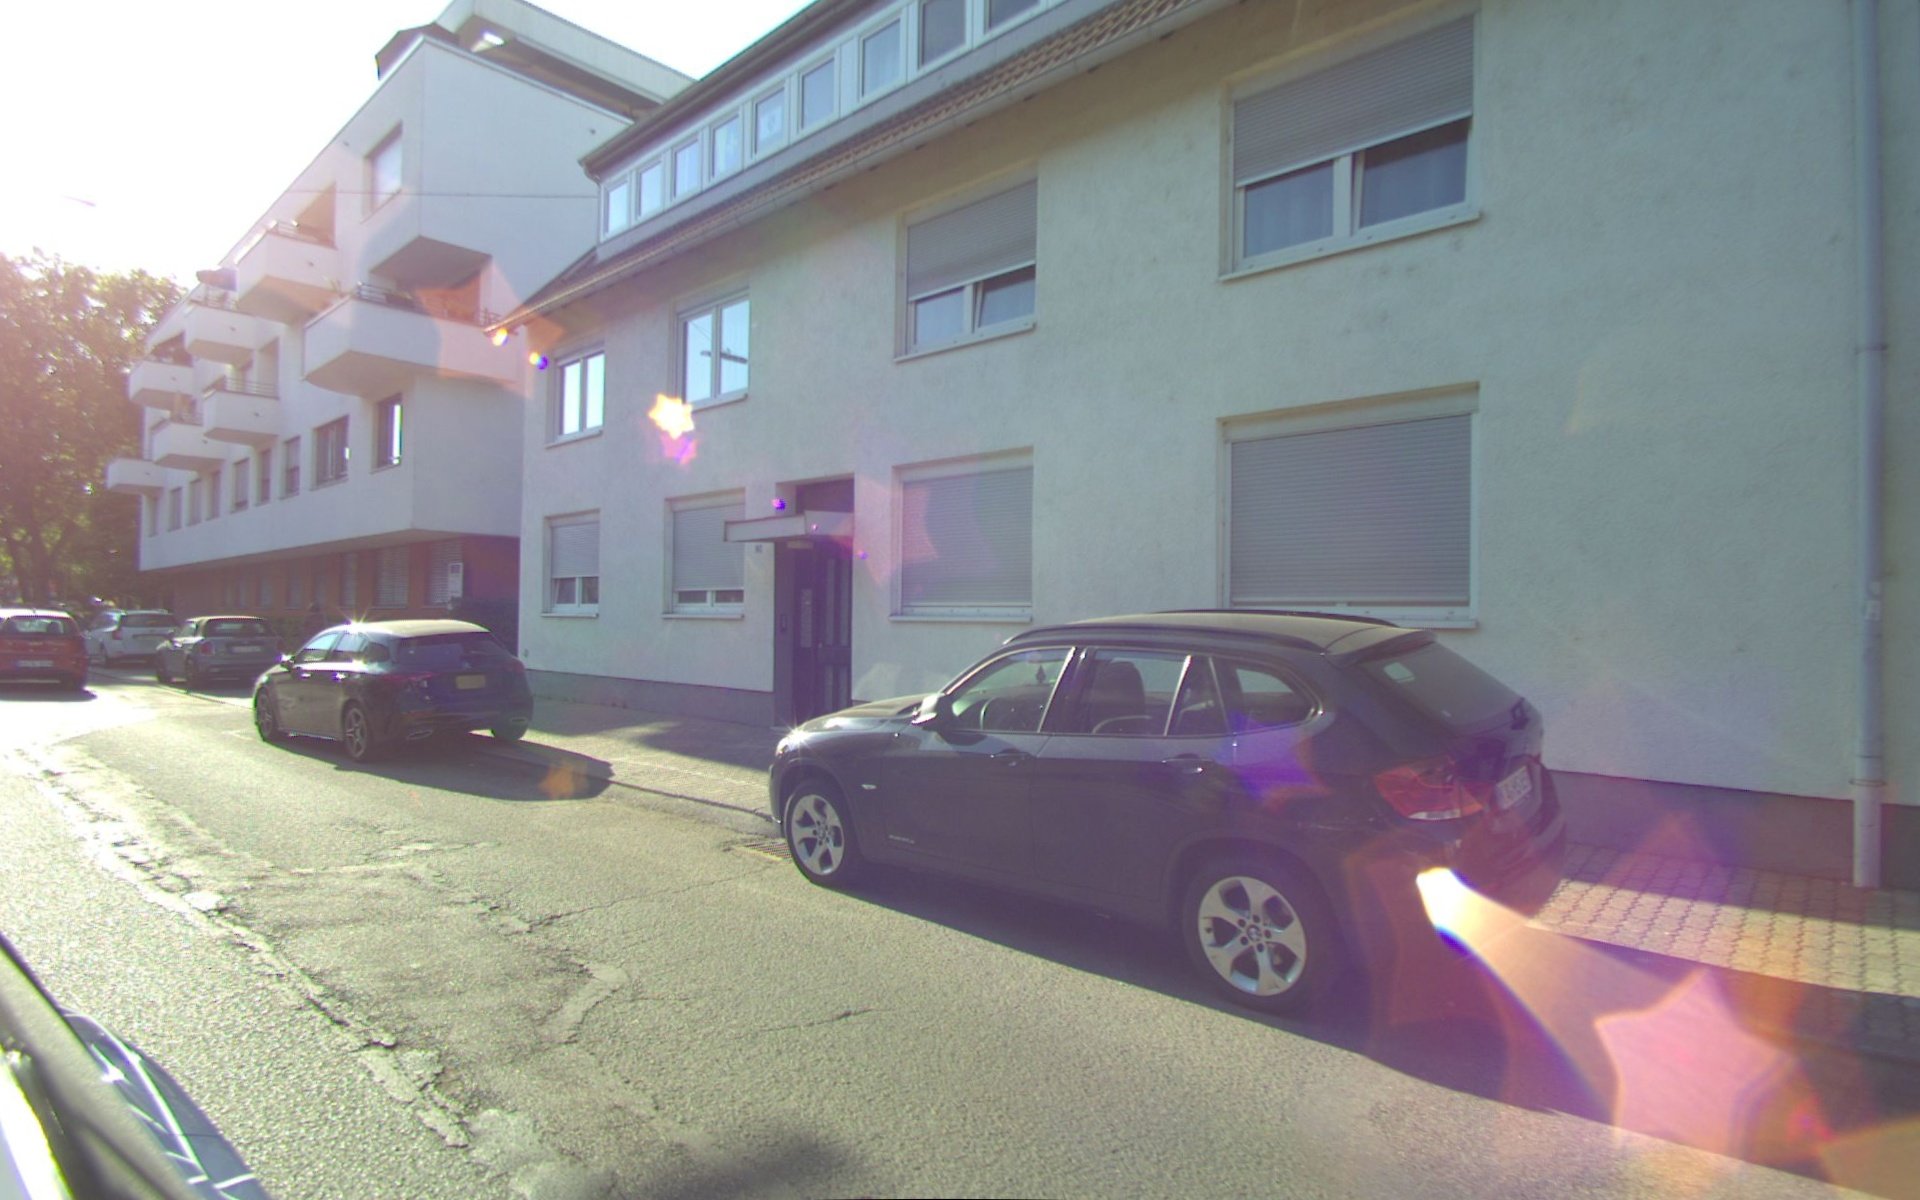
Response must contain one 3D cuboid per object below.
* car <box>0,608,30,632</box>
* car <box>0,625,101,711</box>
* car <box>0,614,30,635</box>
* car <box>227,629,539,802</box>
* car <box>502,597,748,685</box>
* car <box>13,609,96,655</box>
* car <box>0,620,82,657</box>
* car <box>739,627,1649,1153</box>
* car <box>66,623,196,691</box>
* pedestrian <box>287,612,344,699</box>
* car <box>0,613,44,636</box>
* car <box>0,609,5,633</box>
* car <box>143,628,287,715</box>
[{"bbox_3d":[-75.706,1.559,79.176,1.823,1.896,3.967,0,0,24],"label":"car"},{"bbox_3d":[-18.326,1.270,19.790,4.145,1.502,1.821,0,-5,44],"label":"car"},{"bbox_3d":[-73.628,1.893,77.218,1.639,1.572,3.573,0,0,22],"label":"car"},{"bbox_3d":[-6.877,1.182,11.885,4.329,1.547,1.668,0,1,38],"label":"car"},{"bbox_3d":[-6.966,0.873,21.459,2.013,1.651,4.559,-1,-3,40],"label":"car"},{"bbox_3d":[-31.761,1.073,35.456,3.768,1.444,1.657,0,1,40],"label":"car"},{"bbox_3d":[-45.166,1.838,48.898,1.683,1.675,3.943,0,0,13],"label":"car"},{"bbox_3d":[0.887,0.980,5.359,4.335,1.599,1.838,-2,0,42],"label":"car"},{"bbox_3d":[-22.936,1.494,27.938,4.616,1.599,1.840,0,1,39],"label":"car"},{"bbox_3d":[-14.449,1.216,22.726,0.849,1.832,1.136,-3,1,-25],"label":"pedestrian"},{"bbox_3d":[-71.649,1.828,75.933,1.788,1.637,3.965,0,-1,26],"label":"car"},{"bbox_3d":[-78.382,1.673,79.952,1.701,1.901,3.982,0,0,14],"label":"car"},{"bbox_3d":[-15.887,1.446,21.510,3.855,1.547,1.650,0,1,41],"label":"car"}]
